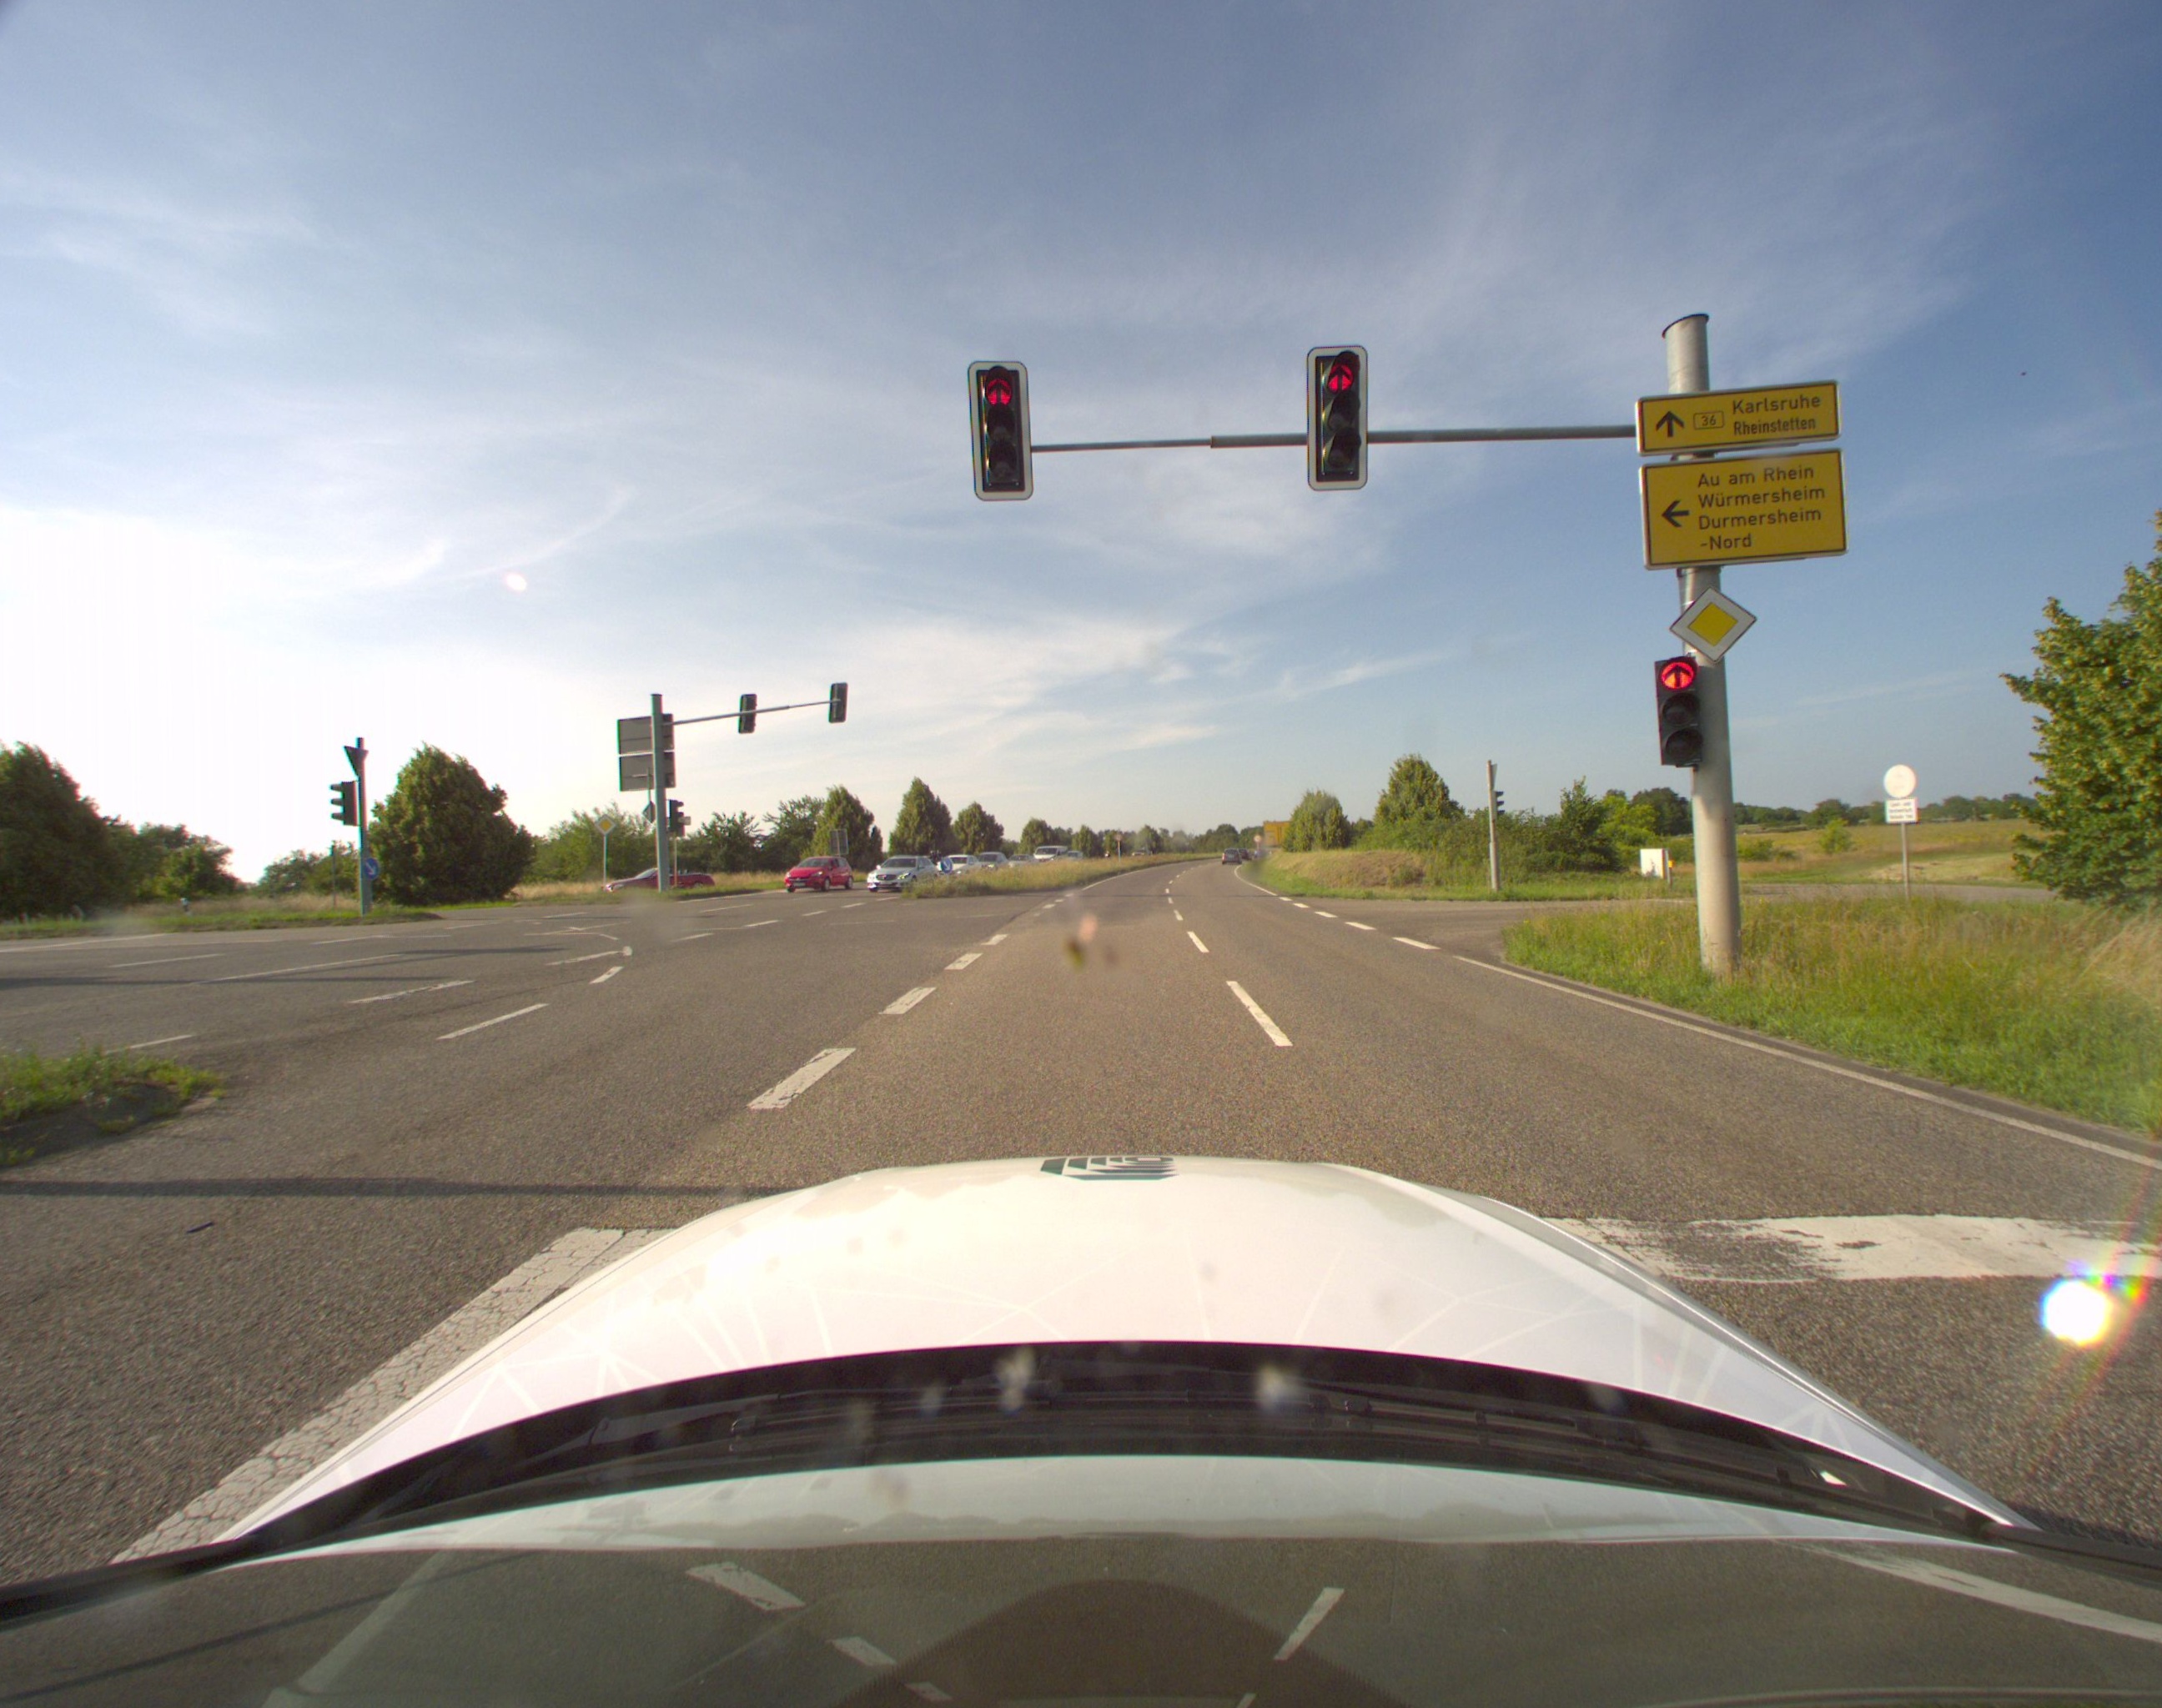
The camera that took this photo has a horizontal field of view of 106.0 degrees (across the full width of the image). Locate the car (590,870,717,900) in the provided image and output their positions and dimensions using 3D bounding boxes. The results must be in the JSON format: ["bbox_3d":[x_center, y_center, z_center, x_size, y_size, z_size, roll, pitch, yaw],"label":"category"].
[{"bbox_3d":[-18.669,1.335,35.775,1.974,1.101,4.506,-2,0,35],"label":"car"}]

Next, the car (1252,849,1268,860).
[{"bbox_3d":[25.818,0.091,117.394,1.758,1.492,4.003,-1,0,18],"label":"car"}]

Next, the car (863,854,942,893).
[{"bbox_3d":[-7.391,0.774,34.247,1.777,1.488,4.659,-2,0,6],"label":"car"}]

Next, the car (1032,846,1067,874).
[{"bbox_3d":[-2.493,0.440,65.235,1.913,2.078,4.255,-2,0,10],"label":"car"}]

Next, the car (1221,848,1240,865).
[{"bbox_3d":[15.040,0.285,81.835,1.773,1.605,4.207,-1,-1,10],"label":"car"}]

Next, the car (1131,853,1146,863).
[{"bbox_3d":[8.340,0.556,118.150,1.394,1.402,3.438,-2,0,18],"label":"car"}]

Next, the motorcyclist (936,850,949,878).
[{"bbox_3d":[-8.938,0.650,52.516,0.660,1.817,0.605,-2,0,-1],"label":"motorcyclist"}]

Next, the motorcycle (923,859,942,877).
[{"bbox_3d":[-9.027,0.839,49.601,0.870,1.097,1.468,-2,0,0],"label":"motorcycle"}]

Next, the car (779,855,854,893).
[{"bbox_3d":[-11.201,0.797,34.759,1.713,1.488,3.808,-2,0,4],"label":"car"}]

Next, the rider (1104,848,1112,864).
[{"bbox_3d":[3.489,0.226,105.116,0.861,2.013,0.775,-2,0,17],"label":"rider"}]

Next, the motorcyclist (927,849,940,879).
[{"bbox_3d":[-8.981,0.609,49.561,0.660,1.747,0.605,-2,0,-1],"label":"motorcyclist"}]

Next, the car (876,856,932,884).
[{"bbox_3d":[-9.734,0.852,45.047,1.777,1.433,4.058,-2,0,6],"label":"car"}]

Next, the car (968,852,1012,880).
[{"bbox_3d":[-5.501,0.698,49.683,1.777,1.568,4.058,-2,0,6],"label":"car"}]

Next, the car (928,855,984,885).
[{"bbox_3d":[-6.494,0.780,42.792,1.777,1.433,4.316,-2,0,6],"label":"car"}]

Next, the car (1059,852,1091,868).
[{"bbox_3d":[-0.543,0.508,73.710,1.772,1.385,4.068,-2,0,16],"label":"car"}]

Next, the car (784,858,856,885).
[{"bbox_3d":[-14.071,0.935,44.176,1.646,1.326,4.231,-2,0,15],"label":"car"}]

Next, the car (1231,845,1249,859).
[{"bbox_3d":[19.682,-0.236,100.738,1.796,1.565,4.549,-1,0,15],"label":"car"}]

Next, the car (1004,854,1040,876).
[{"bbox_3d":[-4.011,0.743,55.953,1.777,1.385,4.058,-2,0,6],"label":"car"}]
